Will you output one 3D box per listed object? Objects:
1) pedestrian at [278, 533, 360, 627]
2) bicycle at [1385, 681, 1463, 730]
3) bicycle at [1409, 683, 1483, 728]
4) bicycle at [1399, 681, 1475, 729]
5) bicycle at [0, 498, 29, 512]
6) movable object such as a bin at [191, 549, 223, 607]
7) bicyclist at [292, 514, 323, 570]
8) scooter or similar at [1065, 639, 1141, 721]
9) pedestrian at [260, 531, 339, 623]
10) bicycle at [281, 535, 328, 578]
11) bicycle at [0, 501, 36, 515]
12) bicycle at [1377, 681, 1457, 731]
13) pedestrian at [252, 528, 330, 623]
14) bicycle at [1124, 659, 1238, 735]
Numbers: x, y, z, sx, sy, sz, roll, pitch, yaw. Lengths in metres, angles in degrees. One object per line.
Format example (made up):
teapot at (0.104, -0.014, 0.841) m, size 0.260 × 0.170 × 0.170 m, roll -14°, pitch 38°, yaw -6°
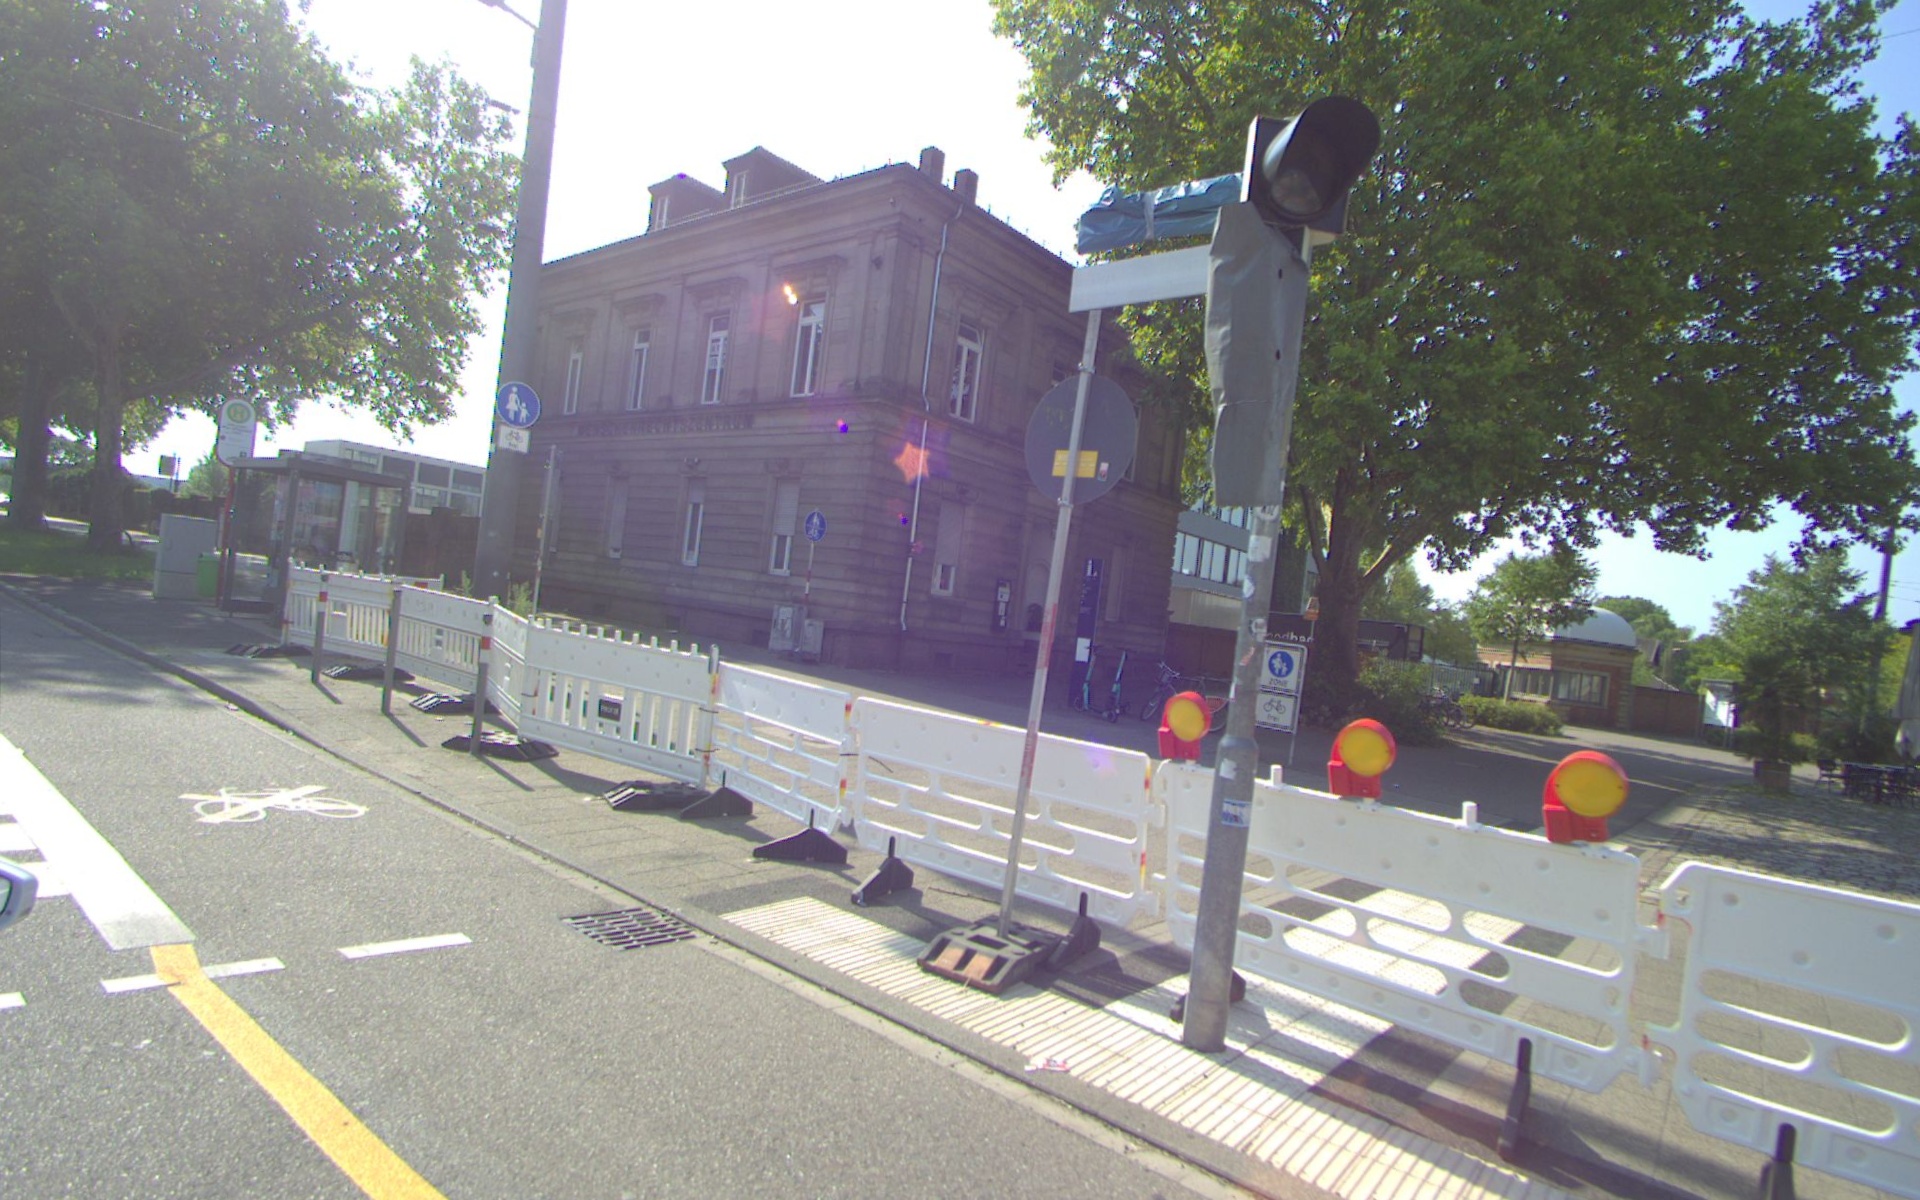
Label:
pedestrian at (-9.470, -0.291, 14.871) m, size 0.603 × 1.276 × 0.740 m, roll 6°, pitch -2°, yaw 40°
bicycle at (13.169, 2.980, 28.575) m, size 1.829 × 1.102 × 0.491 m, roll 7°, pitch 0°, yaw 38°
bicycle at (14.715, 3.186, 30.485) m, size 1.829 × 1.102 × 0.531 m, roll 7°, pitch 0°, yaw 38°
bicycle at (13.878, 3.054, 29.321) m, size 1.829 × 1.102 × 0.491 m, roll 7°, pitch 0°, yaw 38°
bicycle at (-80.277, -8.049, 85.253) m, size 0.366 × 0.857 × 1.929 m, roll 7°, pitch 0°, yaw 40°
movable object such as a bin at (-12.806, -0.374, 17.108) m, size 0.380 × 0.927 × 0.271 m, roll 7°, pitch 1°, yaw 38°
bicyclist at (-19.151, -1.692, 29.515) m, size 0.587 × 1.558 × 0.469 m, roll 7°, pitch 1°, yaw 37°
scooter or similar at (2.447, 1.366, 17.313) m, size 0.424 × 1.243 × 1.159 m, roll 6°, pitch 1°, yaw -42°
pedestrian at (-10.075, -0.347, 15.360) m, size 0.603 × 1.276 × 0.740 m, roll 6°, pitch -2°, yaw 40°
bicycle at (-19.295, -1.291, 29.591) m, size 1.829 × 1.102 × 0.491 m, roll 7°, pitch 0°, yaw 38°
bicycle at (-78.034, -7.619, 83.312) m, size 0.496 × 0.857 × 2.177 m, roll 7°, pitch 0°, yaw 40°
bicycle at (12.603, 2.909, 27.778) m, size 1.829 × 1.102 × 0.491 m, roll 7°, pitch 0°, yaw 38°
pedestrian at (-10.533, -0.383, 15.839) m, size 0.603 × 1.381 × 0.750 m, roll 6°, pitch -2°, yaw 40°
bicycle at (3.913, 1.700, 17.815) m, size 1.784 × 1.012 × 0.492 m, roll 9°, pitch 1°, yaw 21°
